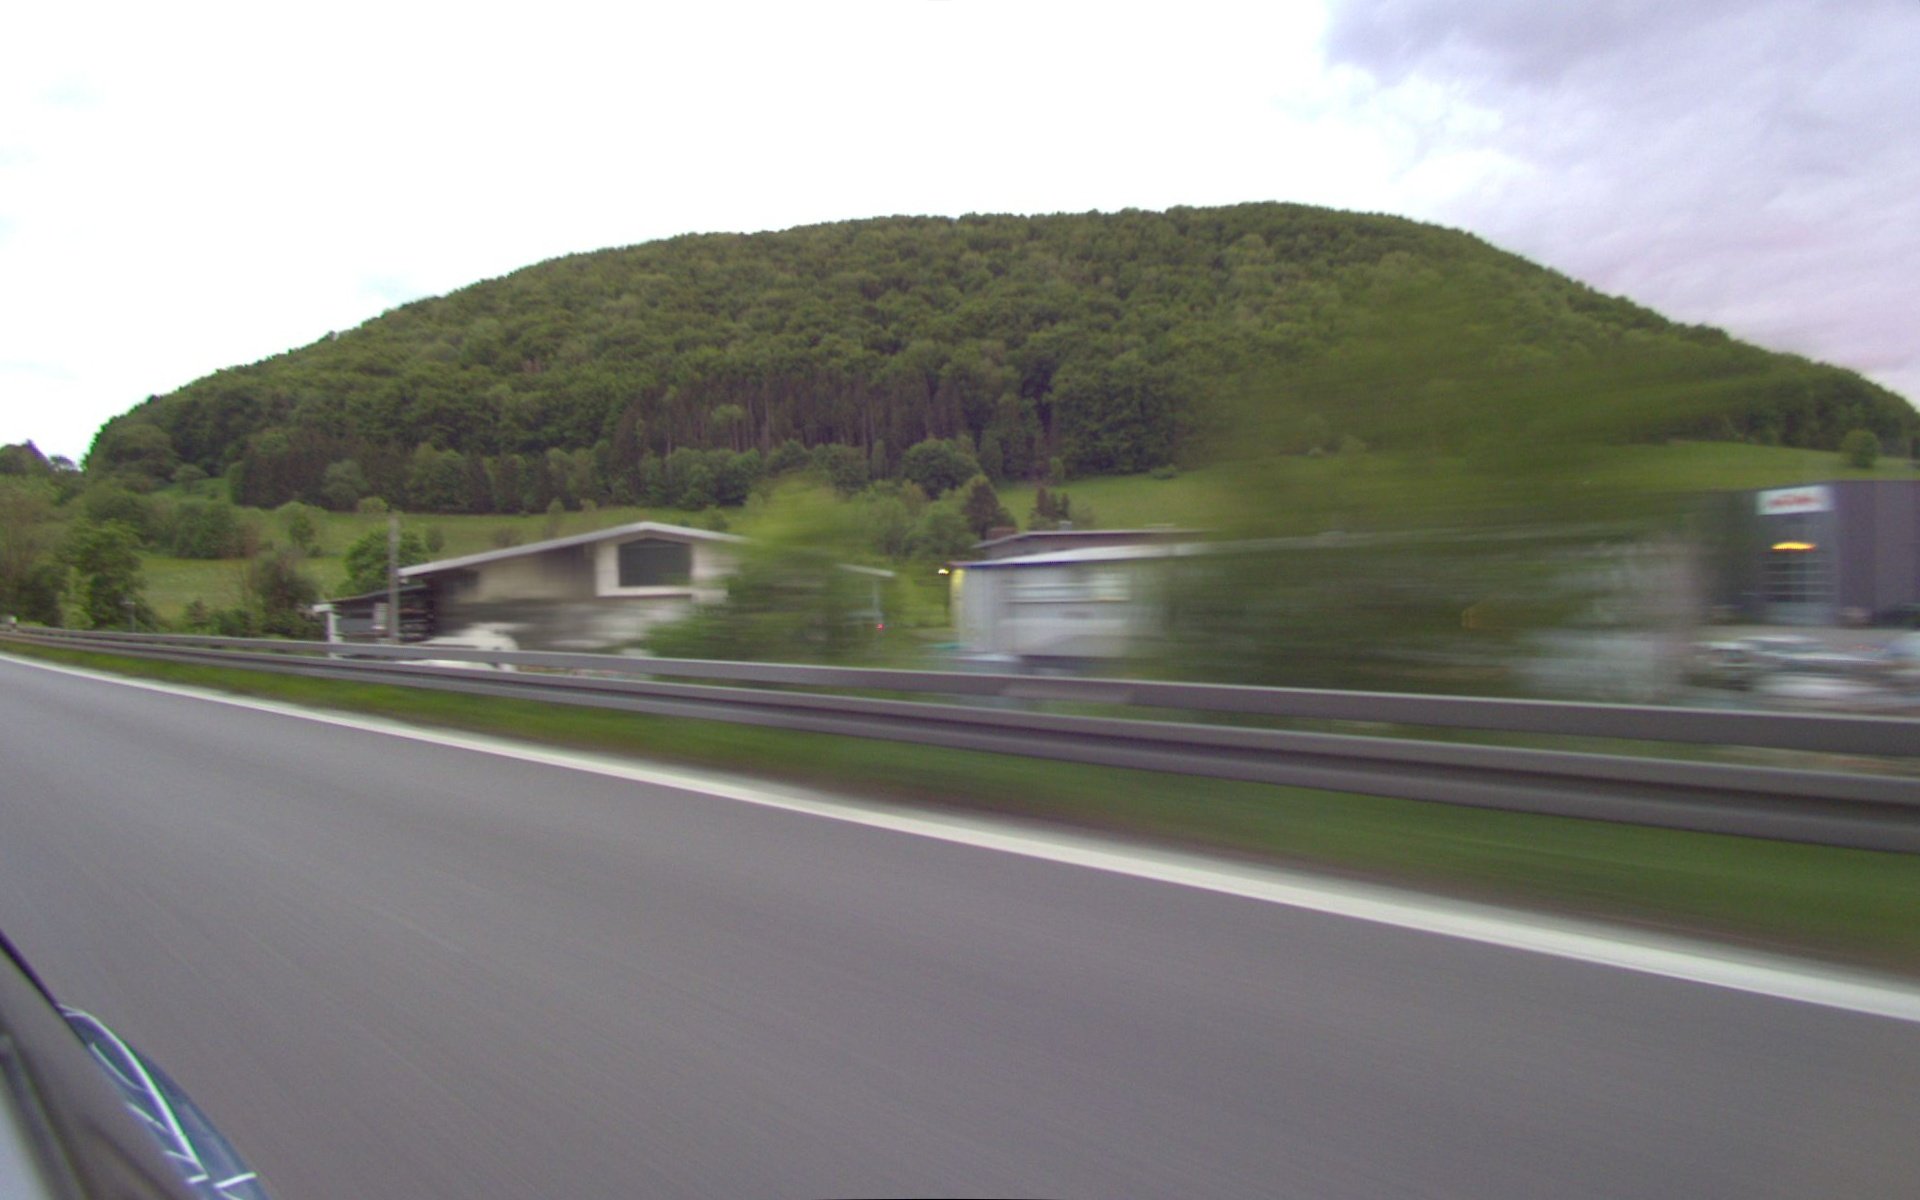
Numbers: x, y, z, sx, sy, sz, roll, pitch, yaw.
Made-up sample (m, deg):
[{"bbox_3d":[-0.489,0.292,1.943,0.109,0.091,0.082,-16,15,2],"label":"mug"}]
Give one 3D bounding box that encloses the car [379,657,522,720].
[{"bbox_3d":[-17.118,2.930,34.118,3.941,1.706,1.774,-1,1,-45],"label":"car"}]
